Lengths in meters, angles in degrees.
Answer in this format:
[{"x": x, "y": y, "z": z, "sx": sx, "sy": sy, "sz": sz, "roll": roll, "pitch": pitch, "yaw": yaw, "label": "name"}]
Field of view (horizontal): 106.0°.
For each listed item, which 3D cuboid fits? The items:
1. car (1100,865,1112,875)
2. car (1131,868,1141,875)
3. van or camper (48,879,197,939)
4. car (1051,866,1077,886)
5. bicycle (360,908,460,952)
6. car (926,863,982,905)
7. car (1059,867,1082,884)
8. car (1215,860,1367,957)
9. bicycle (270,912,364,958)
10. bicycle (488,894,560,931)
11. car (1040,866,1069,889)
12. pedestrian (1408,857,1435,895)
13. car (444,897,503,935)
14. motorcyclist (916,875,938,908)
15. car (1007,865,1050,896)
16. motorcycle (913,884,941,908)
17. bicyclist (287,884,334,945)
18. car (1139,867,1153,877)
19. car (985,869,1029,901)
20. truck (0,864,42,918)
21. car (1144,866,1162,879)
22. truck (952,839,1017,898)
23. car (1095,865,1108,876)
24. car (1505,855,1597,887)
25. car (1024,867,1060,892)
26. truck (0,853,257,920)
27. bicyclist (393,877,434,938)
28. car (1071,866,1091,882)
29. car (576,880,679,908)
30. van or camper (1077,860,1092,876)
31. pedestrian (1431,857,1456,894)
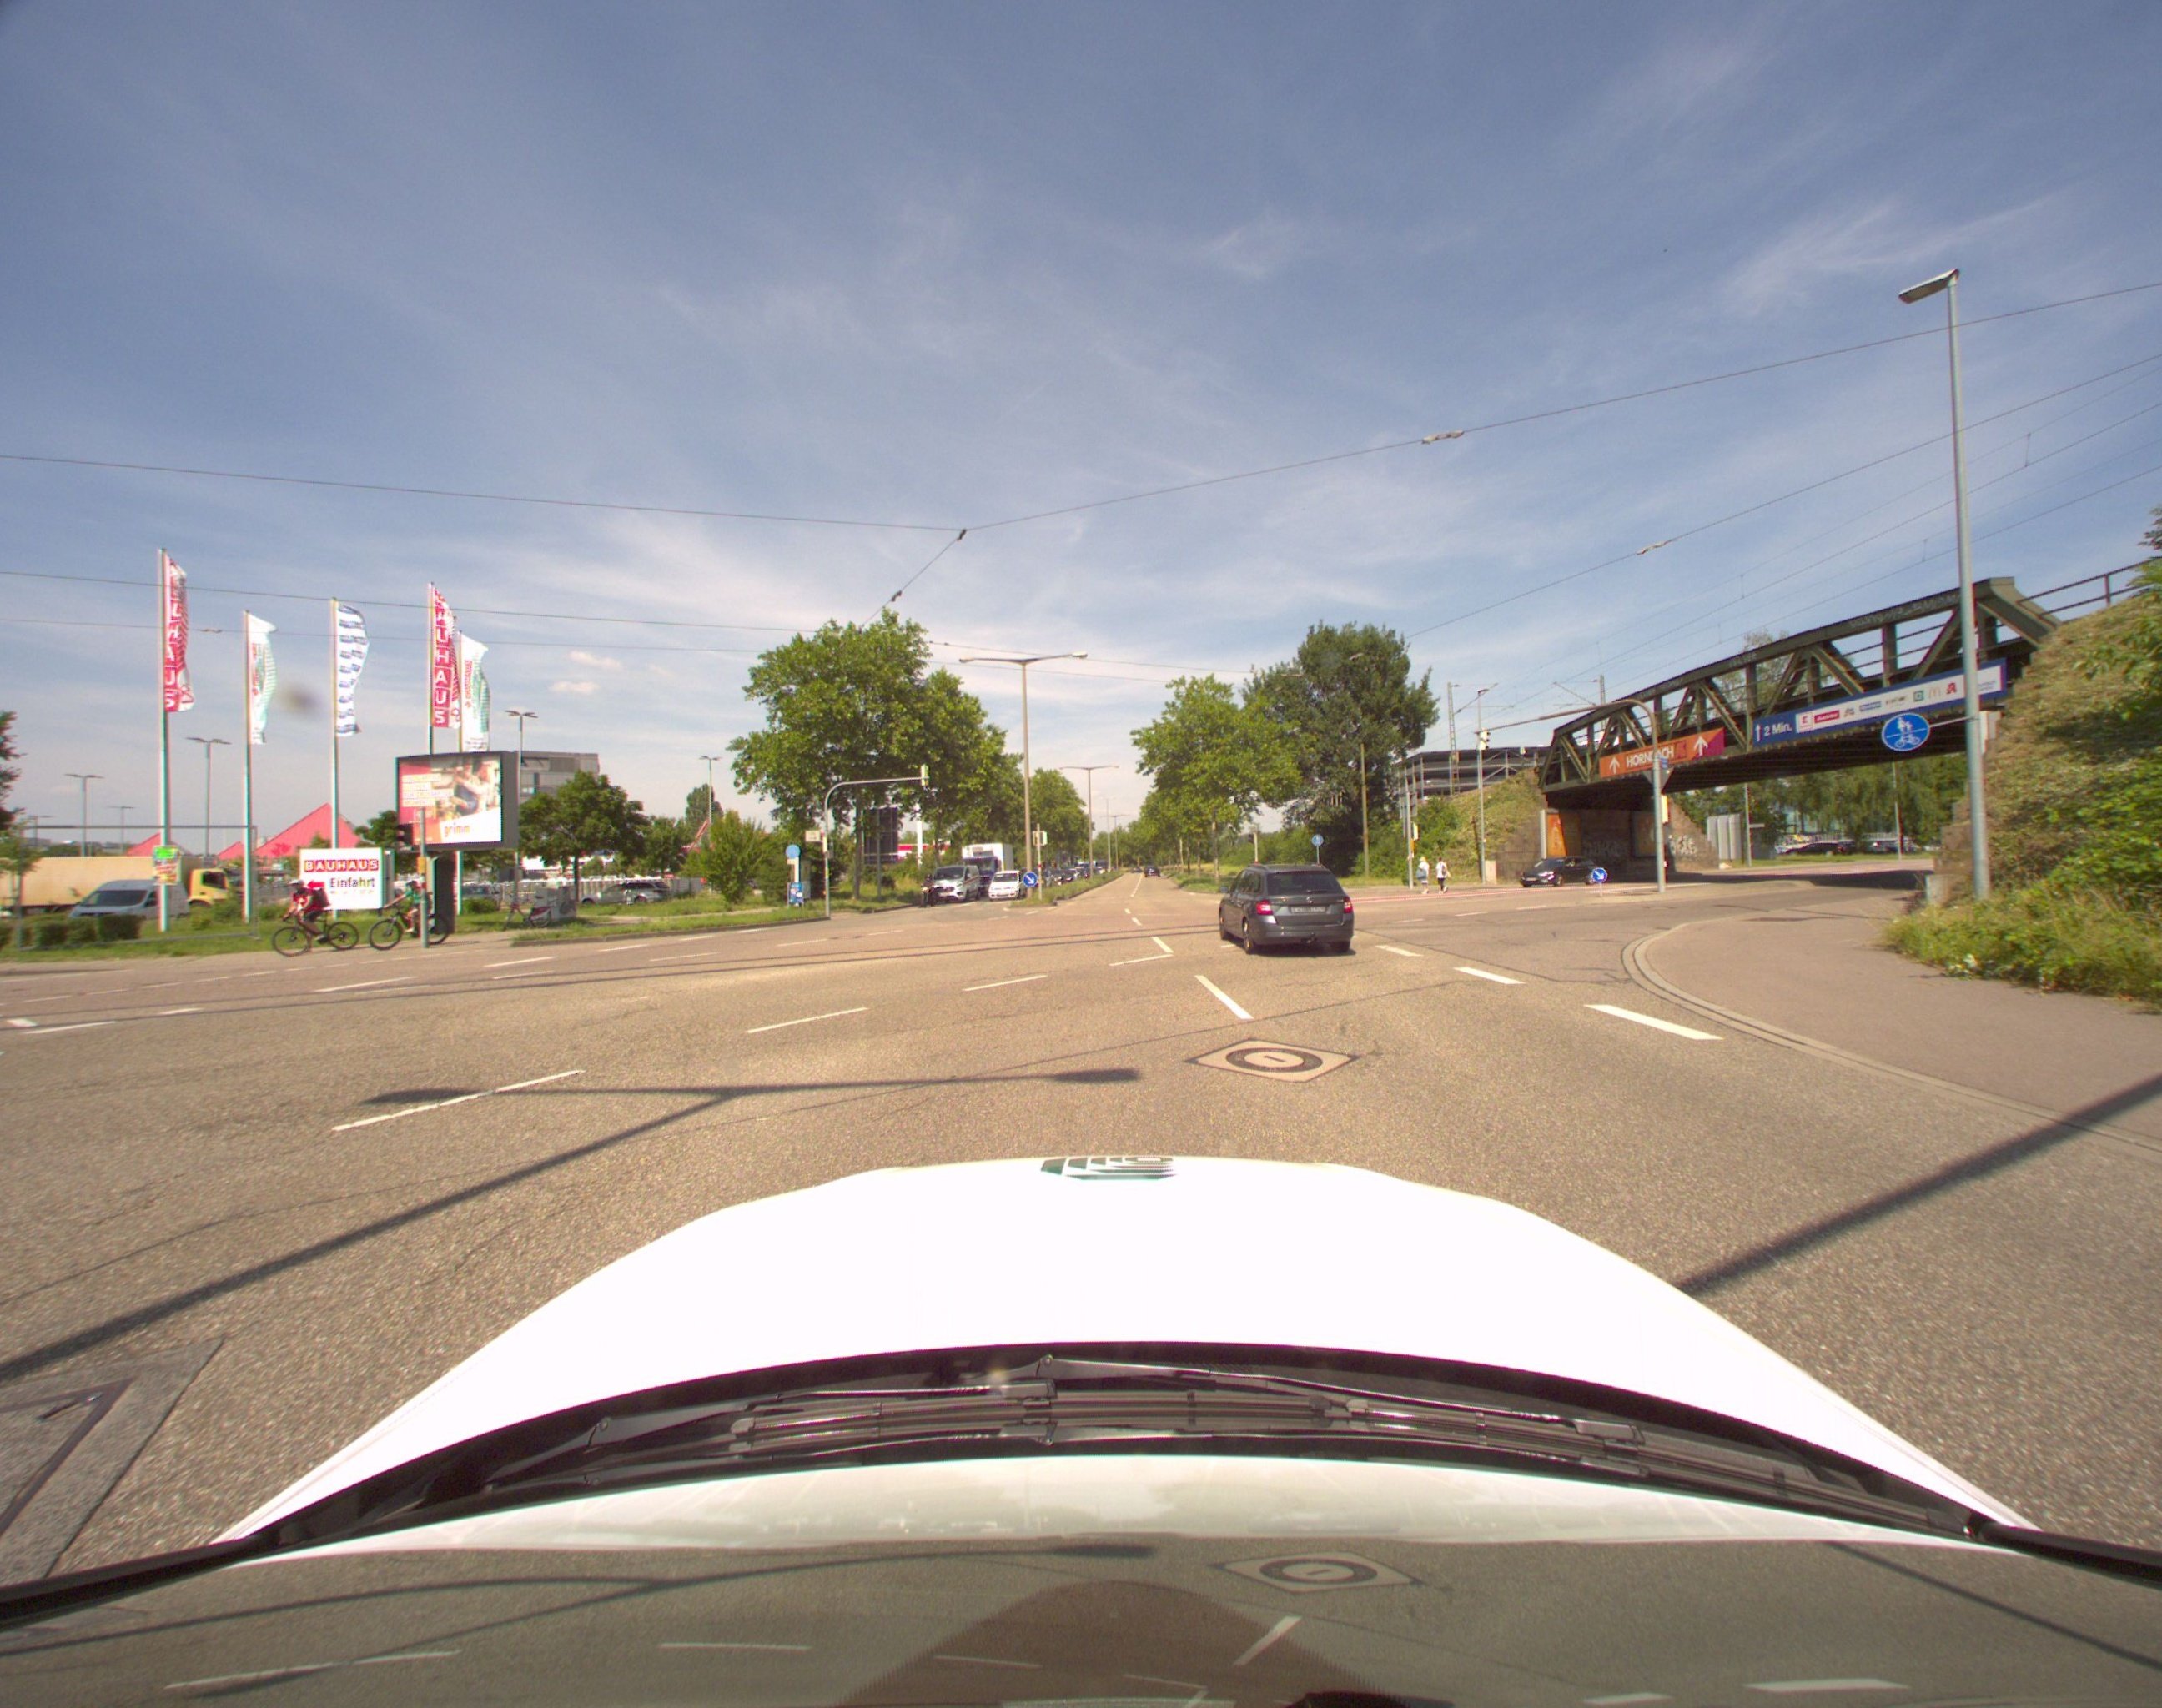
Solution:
[{"x": 4.263, "y": 2.706, "z": 137.777, "sx": 1.681, "sy": 1.530, "sz": 3.819, "roll": -3, "pitch": -2, "yaw": 4, "label": "car"}, {"x": 11.526, "y": 3.701, "z": 171.748, "sx": 1.901, "sy": 1.463, "sz": 4.583, "roll": -1, "pitch": 0, "yaw": 1, "label": "car"}, {"x": -39.411, "y": 2.156, "z": 33.724, "sx": 2.202, "sy": 2.210, "sz": 5.466, "roll": -1, "pitch": -1, "yaw": -29, "label": "van or camper"}, {"x": -1.419, "y": 1.844, "z": 68.905, "sx": 1.681, "sy": 1.473, "sz": 4.223, "roll": -4, "pitch": -1, "yaw": 4, "label": "car"}, {"x": -16.716, "y": 1.880, "z": 20.344, "sx": 0.412, "sy": 0.937, "sz": 2.007, "roll": -2, "pitch": -1, "yaw": 19, "label": "bicycle"}, {"x": -6.666, "y": 1.529, "z": 43.225, "sx": 1.968, "sy": 1.999, "sz": 5.034, "roll": -2, "pitch": -1, "yaw": 2, "label": "car"}, {"x": -0.942, "y": 1.943, "z": 74.528, "sx": 1.681, "sy": 1.472, "sz": 3.819, "roll": -3, "pitch": -1, "yaw": 4, "label": "car"}, {"x": 3.480, "y": 0.836, "z": 14.244, "sx": 1.668, "sy": 1.453, "sz": 4.036, "roll": 0, "pitch": -1, "yaw": 1, "label": "car"}, {"x": -18.181, "y": 1.901, "z": 19.424, "sx": 0.431, "sy": 0.937, "sz": 1.755, "roll": -2, "pitch": -1, "yaw": 7, "label": "bicycle"}, {"x": -17.536, "y": 1.828, "z": 25.685, "sx": 0.589, "sy": 1.037, "sz": 1.904, "roll": -2, "pitch": -1, "yaw": 19, "label": "bicycle"}, {"x": -1.962, "y": 1.732, "z": 61.558, "sx": 1.681, "sy": 1.586, "sz": 4.245, "roll": -3, "pitch": -1, "yaw": 4, "label": "car"}, {"x": 14.861, "y": 0.966, "z": 35.577, "sx": 0.864, "sy": 1.612, "sz": 0.778, "roll": -2, "pitch": -1, "yaw": 4, "label": "pedestrian"}, {"x": -29.738, "y": 2.968, "z": 39.813, "sx": 2.211, "sy": 1.572, "sz": 4.524, "roll": -1, "pitch": -1, "yaw": -38, "label": "car"}, {"x": -7.205, "y": 1.751, "z": 38.219, "sx": 0.740, "sy": 1.470, "sz": 0.988, "roll": -2, "pitch": -1, "yaw": 4, "label": "motorcyclist"}, {"x": -3.065, "y": 1.557, "z": 48.138, "sx": 1.811, "sy": 1.647, "sz": 4.699, "roll": -3, "pitch": -2, "yaw": 4, "label": "car"}, {"x": -7.176, "y": 1.944, "z": 38.120, "sx": 0.685, "sy": 0.991, "sz": 2.220, "roll": -2, "pitch": -1, "yaw": 5, "label": "motorcycle"}, {"x": -18.298, "y": 1.428, "z": 19.351, "sx": 0.524, "sy": 1.414, "sz": 0.611, "roll": -2, "pitch": -1, "yaw": 8, "label": "bicyclist"}, {"x": 10.383, "y": 2.907, "z": 130.331, "sx": 1.901, "sy": 1.463, "sz": 4.583, "roll": -1, "pitch": 0, "yaw": 1, "label": "car"}, {"x": -3.787, "y": 1.565, "z": 42.327, "sx": 1.585, "sy": 1.477, "sz": 3.734, "roll": -3, "pitch": -1, "yaw": 4, "label": "car"}, {"x": -63.095, "y": 2.126, "z": 43.016, "sx": 9.649, "sy": 2.892, "sz": 2.896, "roll": -1, "pitch": -1, "yaw": -32, "label": "truck"}, {"x": 8.622, "y": 2.212, "z": 98.304, "sx": 1.901, "sy": 1.463, "sz": 4.623, "roll": -1, "pitch": 0, "yaw": 2, "label": "car"}, {"x": -6.169, "y": 0.907, "z": 53.092, "sx": 2.791, "sy": 3.471, "sz": 6.699, "roll": -4, "pitch": -1, "yaw": 4, "label": "truck"}, {"x": 3.047, "y": 2.431, "z": 121.189, "sx": 1.681, "sy": 1.510, "sz": 3.819, "roll": -3, "pitch": -1, "yaw": 4, "label": "car"}, {"x": 22.970, "y": 0.796, "z": 39.730, "sx": 4.517, "sy": 1.409, "sz": 1.980, "roll": -1, "pitch": -1, "yaw": -32, "label": "car"}, {"x": -2.602, "y": 1.696, "z": 55.000, "sx": 1.788, "sy": 1.468, "sz": 4.528, "roll": -3, "pitch": -1, "yaw": 5, "label": "car"}, {"x": -52.865, "y": 1.683, "z": 45.592, "sx": 8.958, "sy": 3.311, "sz": 3.127, "roll": -1, "pitch": -1, "yaw": -33, "label": "truck"}, {"x": -16.700, "y": 1.331, "z": 20.378, "sx": 0.523, "sy": 1.491, "sz": 0.612, "roll": -2, "pitch": -1, "yaw": 20, "label": "bicyclist"}, {"x": 0.006, "y": 2.109, "z": 87.202, "sx": 1.777, "sy": 1.489, "sz": 4.215, "roll": -3, "pitch": -1, "yaw": 3, "label": "car"}, {"x": -25.547, "y": 2.241, "z": 46.002, "sx": 4.551, "sy": 1.414, "sz": 2.198, "roll": -1, "pitch": -1, "yaw": -3, "label": "car"}, {"x": 0.625, "y": 2.297, "z": 135.776, "sx": 2.006, "sy": 2.588, "sz": 5.523, "roll": -3, "pitch": -1, "yaw": 5, "label": "van or camper"}, {"x": 15.750, "y": 0.932, "z": 35.391, "sx": 0.726, "sy": 1.579, "sz": 0.778, "roll": -2, "pitch": -1, "yaw": 4, "label": "pedestrian"}]
